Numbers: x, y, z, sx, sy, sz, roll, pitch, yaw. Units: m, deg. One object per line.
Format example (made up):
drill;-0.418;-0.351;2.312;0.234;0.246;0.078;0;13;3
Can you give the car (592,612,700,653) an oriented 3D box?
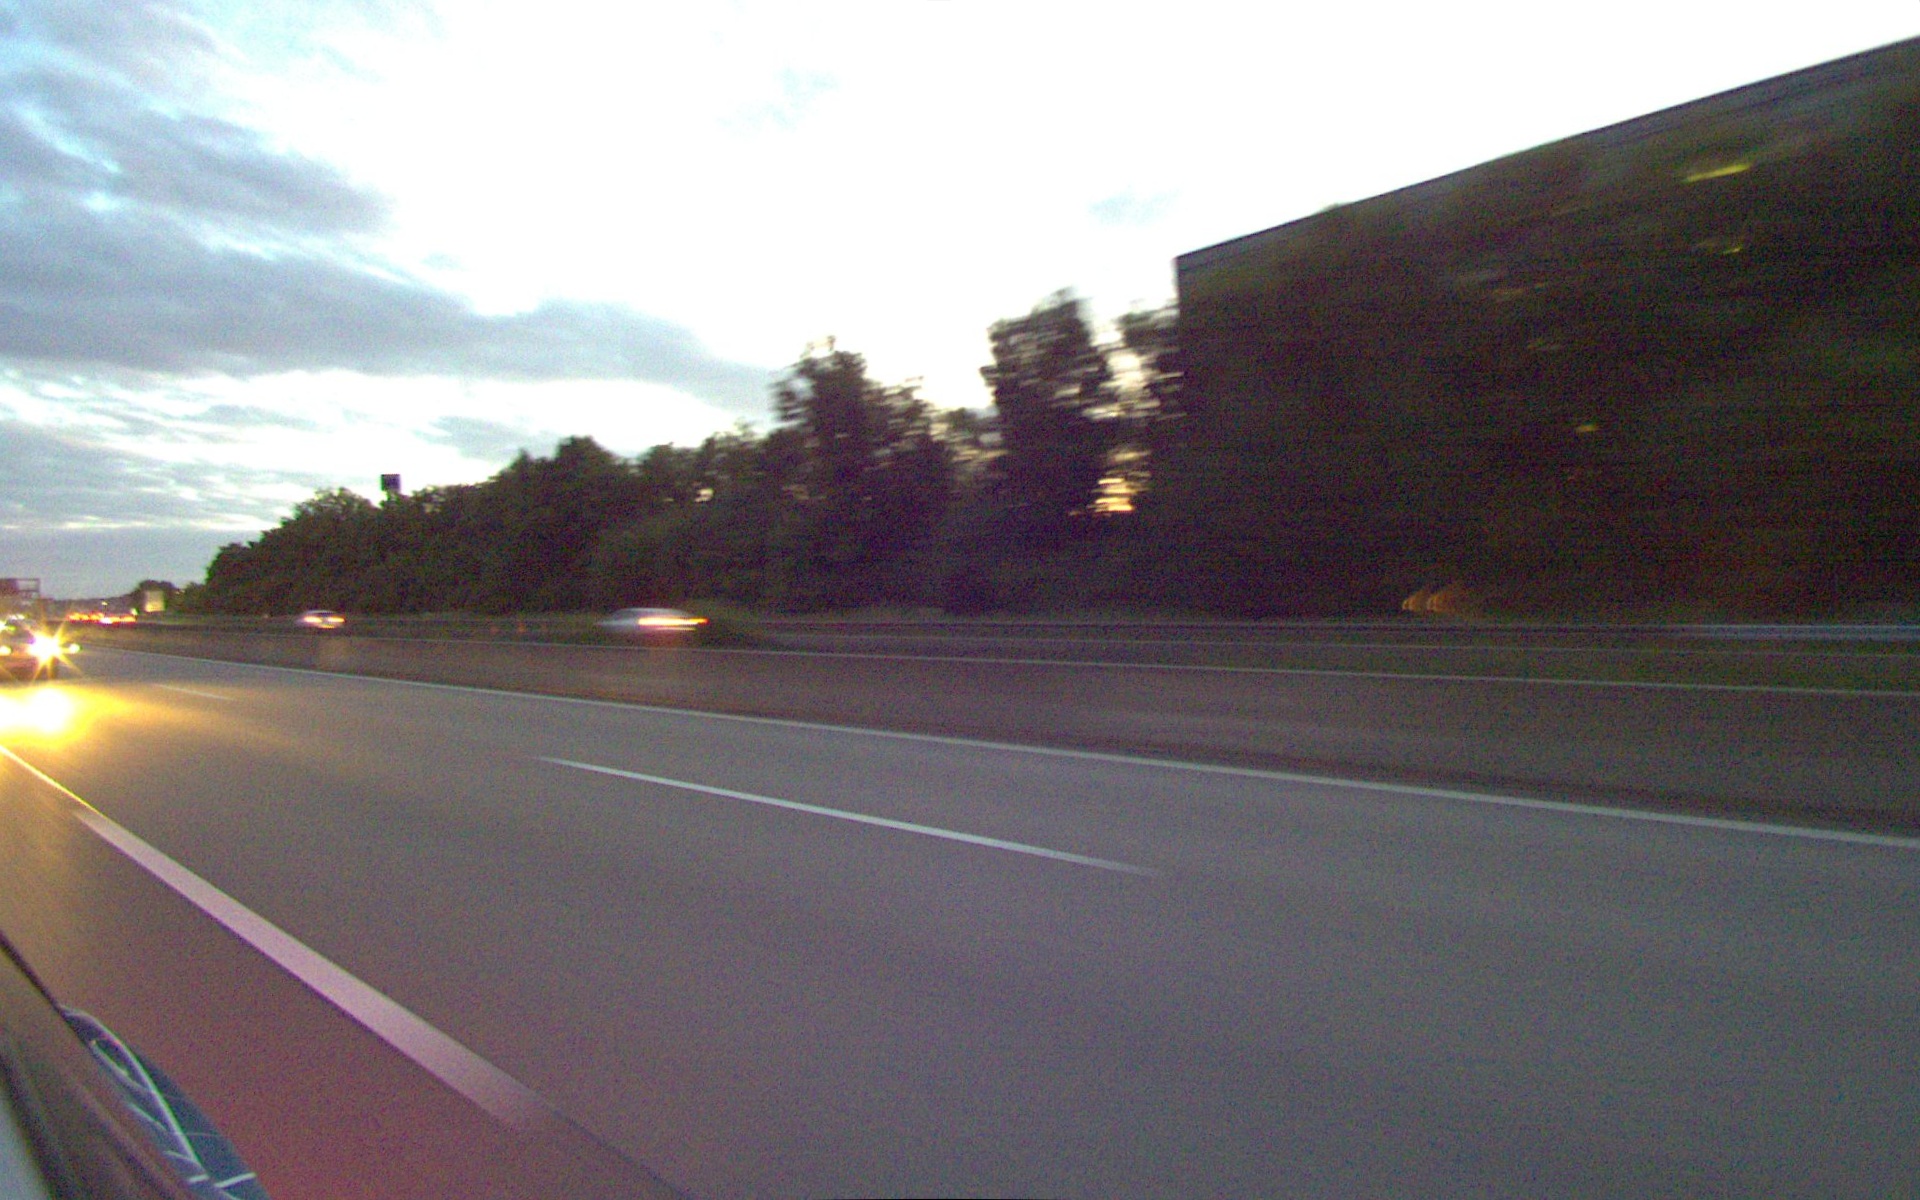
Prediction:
car;-13.019;1.321;41.779;5.005;1.545;1.973;-1;0;42

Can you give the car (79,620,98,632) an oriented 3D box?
car;-144.688;4.317;167.968;4.841;1.804;1.971;-1;0;44

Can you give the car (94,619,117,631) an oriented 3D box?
car;-112.847;3.323;133.631;3.835;1.464;1.972;-1;0;43

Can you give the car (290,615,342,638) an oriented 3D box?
car;-45.180;1.835;70.938;4.505;1.516;1.972;-1;0;42

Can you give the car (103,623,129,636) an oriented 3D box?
car;-94.112;3.299;112.790;1.813;1.346;4.913;-1;0;-44

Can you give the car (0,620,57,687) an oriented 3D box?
car;-23.377;1.276;24.687;4.001;1.491;1.694;-1;0;44
